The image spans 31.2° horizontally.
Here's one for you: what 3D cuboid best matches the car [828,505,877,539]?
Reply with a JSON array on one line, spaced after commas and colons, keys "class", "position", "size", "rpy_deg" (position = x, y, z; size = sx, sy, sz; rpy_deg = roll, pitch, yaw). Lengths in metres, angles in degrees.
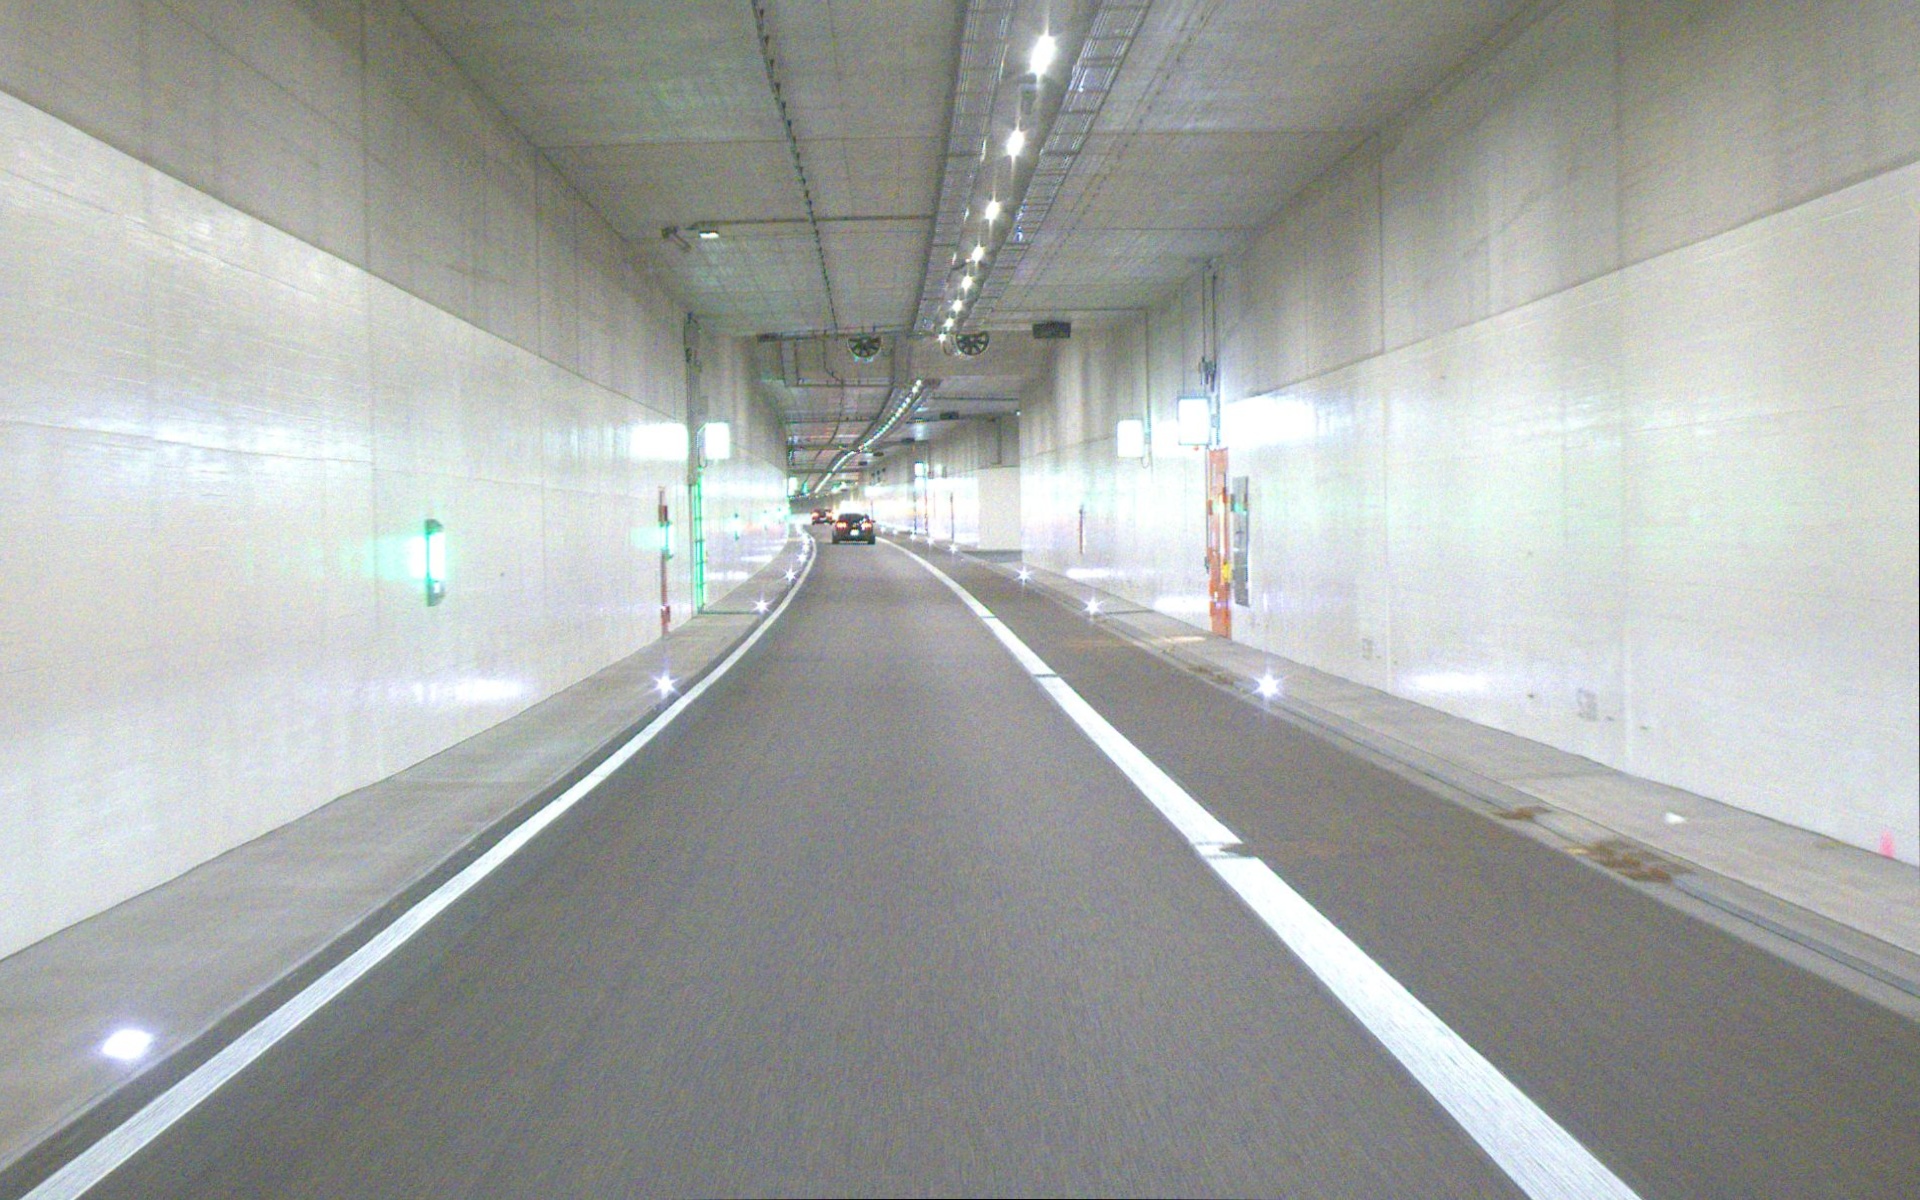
[{"class": "car", "position": [-4.799, -3.479, 153.179], "size": [1.993, 1.415, 4.001], "rpy_deg": [-3, 2, -3]}]
